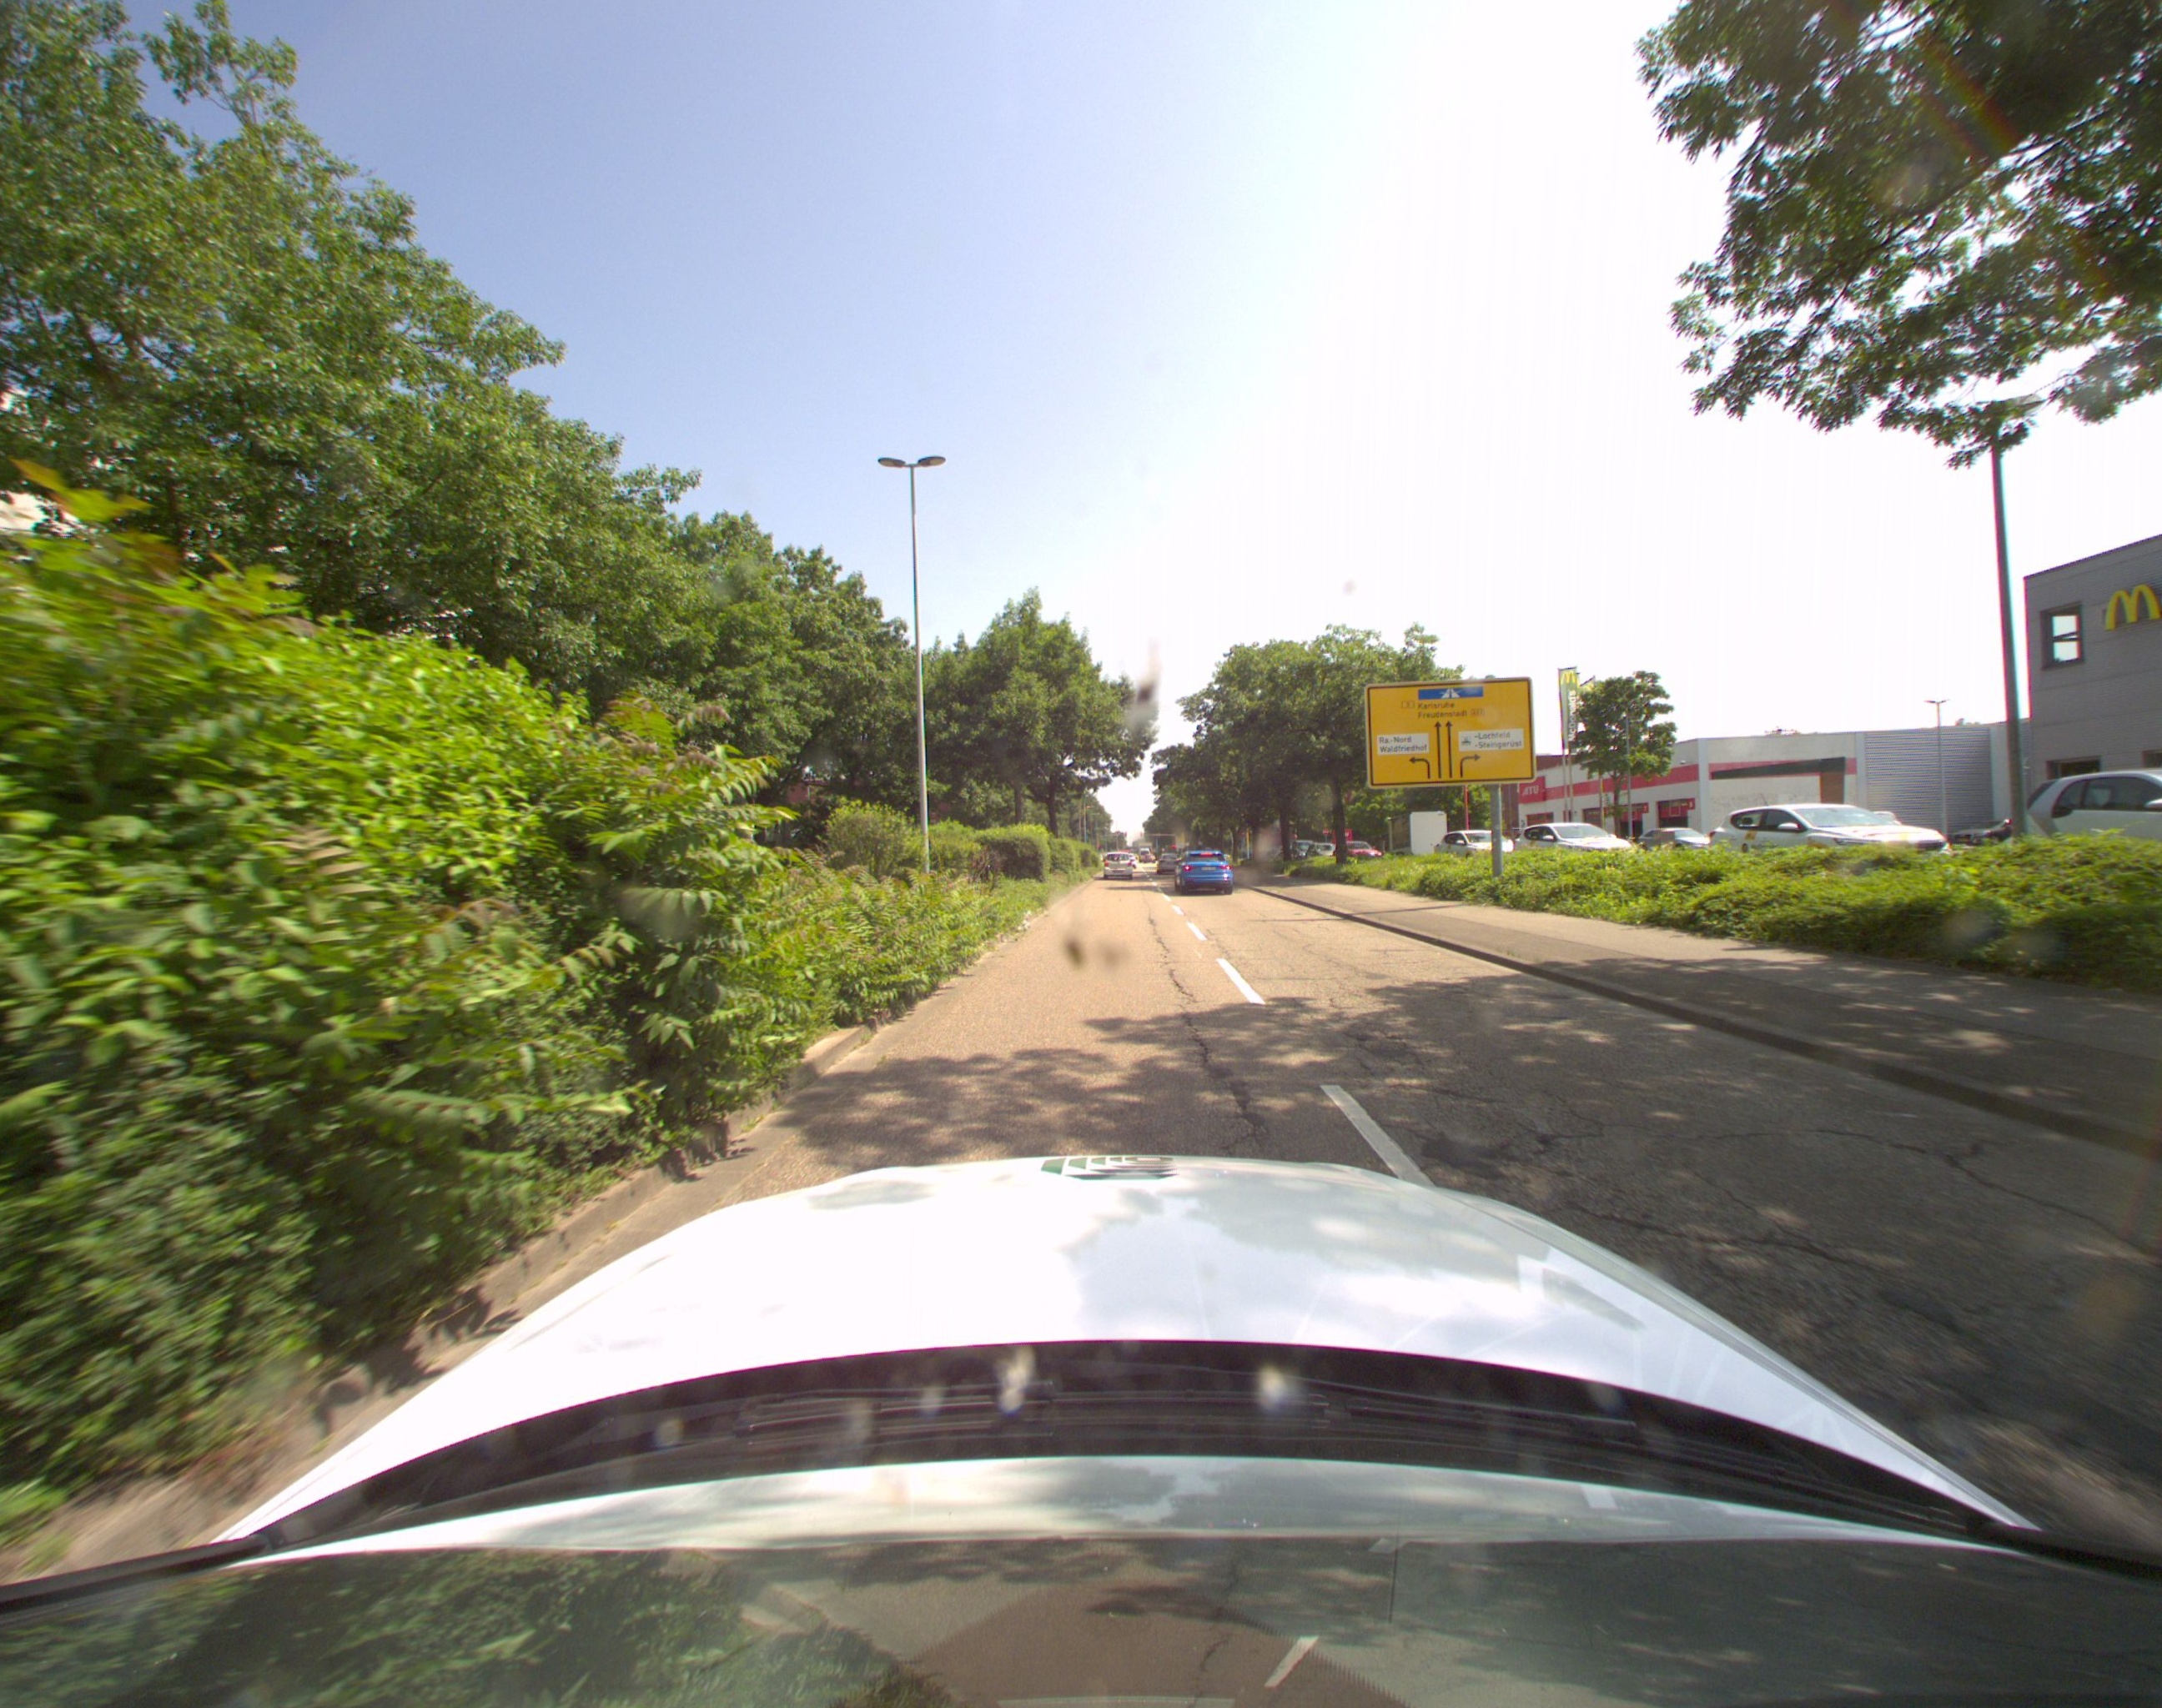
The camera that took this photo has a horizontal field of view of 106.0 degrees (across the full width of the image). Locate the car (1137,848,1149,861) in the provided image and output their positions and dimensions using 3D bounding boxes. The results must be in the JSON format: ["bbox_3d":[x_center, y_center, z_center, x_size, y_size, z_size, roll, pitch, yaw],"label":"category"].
[{"bbox_3d":[11.539,0.039,152.269,1.985,2.255,4.004,-2,0,3],"label":"car"}]

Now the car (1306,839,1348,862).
[{"bbox_3d":[15.817,-0.223,52.566,1.694,1.380,3.908,-2,0,3],"label":"car"}]

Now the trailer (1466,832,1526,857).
[{"bbox_3d":[29.809,-0.685,58.555,3.588,1.582,1.414,-3,0,5],"label":"trailer"}]

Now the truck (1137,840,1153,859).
[{"bbox_3d":[12.759,-0.938,162.891,2.919,3.502,9.166,-2,0,3],"label":"truck"}]

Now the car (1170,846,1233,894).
[{"bbox_3d":[4.383,0.569,30.186,1.802,1.593,4.351,-1,-1,2],"label":"car"}]

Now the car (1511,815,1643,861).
[{"bbox_3d":[13.897,-0.399,23.059,1.587,1.158,3.741,-1,-1,3],"label":"car"}]

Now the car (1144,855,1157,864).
[{"bbox_3d":[11.682,0.874,136.849,1.858,1.310,4.003,-3,0,3],"label":"car"}]

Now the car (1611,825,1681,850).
[{"bbox_3d":[32.550,-0.948,47.034,1.702,1.308,3.604,-3,0,4],"label":"car"}]

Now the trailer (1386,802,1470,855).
[{"bbox_3d":[14.715,-1.014,34.872,1.692,2.055,5.492,-2,0,6],"label":"trailer"}]

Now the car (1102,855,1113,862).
[{"bbox_3d":[5.515,0.933,167.875,1.985,1.288,4.004,-2,0,3],"label":"car"}]

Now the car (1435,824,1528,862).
[{"bbox_3d":[14.193,-0.342,29.059,1.613,1.253,3.632,-1,-1,2],"label":"car"}]

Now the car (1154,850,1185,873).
[{"bbox_3d":[6.033,0.529,55.978,1.858,1.473,4.003,-1,-1,3],"label":"car"}]

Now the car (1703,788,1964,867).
[{"bbox_3d":[13.773,-0.419,15.257,1.610,1.253,3.873,-1,-1,7],"label":"car"}]

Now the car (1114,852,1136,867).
[{"bbox_3d":[4.078,0.520,75.263,1.876,1.354,4.004,-1,-1,3],"label":"car"}]

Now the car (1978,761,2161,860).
[{"bbox_3d":[13.130,-0.509,9.817,1.502,1.122,2.857,-1,-1,1],"label":"car"}]

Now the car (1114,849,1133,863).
[{"bbox_3d":[4.643,0.241,88.837,1.789,1.523,3.998,-1,-1,-1],"label":"car"}]

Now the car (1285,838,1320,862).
[{"bbox_3d":[15.841,-0.250,58.340,1.692,1.637,3.910,-2,-1,5],"label":"car"}]

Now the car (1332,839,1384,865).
[{"bbox_3d":[15.750,-0.114,46.510,1.694,1.380,4.327,-2,0,3],"label":"car"}]

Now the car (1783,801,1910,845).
[{"bbox_3d":[35.416,-1.364,37.874,1.702,1.805,4.635,-3,0,3],"label":"car"}]

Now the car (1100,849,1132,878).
[{"bbox_3d":[1.932,0.543,45.808,1.633,1.552,3.324,-1,-1,-1],"label":"car"}]
